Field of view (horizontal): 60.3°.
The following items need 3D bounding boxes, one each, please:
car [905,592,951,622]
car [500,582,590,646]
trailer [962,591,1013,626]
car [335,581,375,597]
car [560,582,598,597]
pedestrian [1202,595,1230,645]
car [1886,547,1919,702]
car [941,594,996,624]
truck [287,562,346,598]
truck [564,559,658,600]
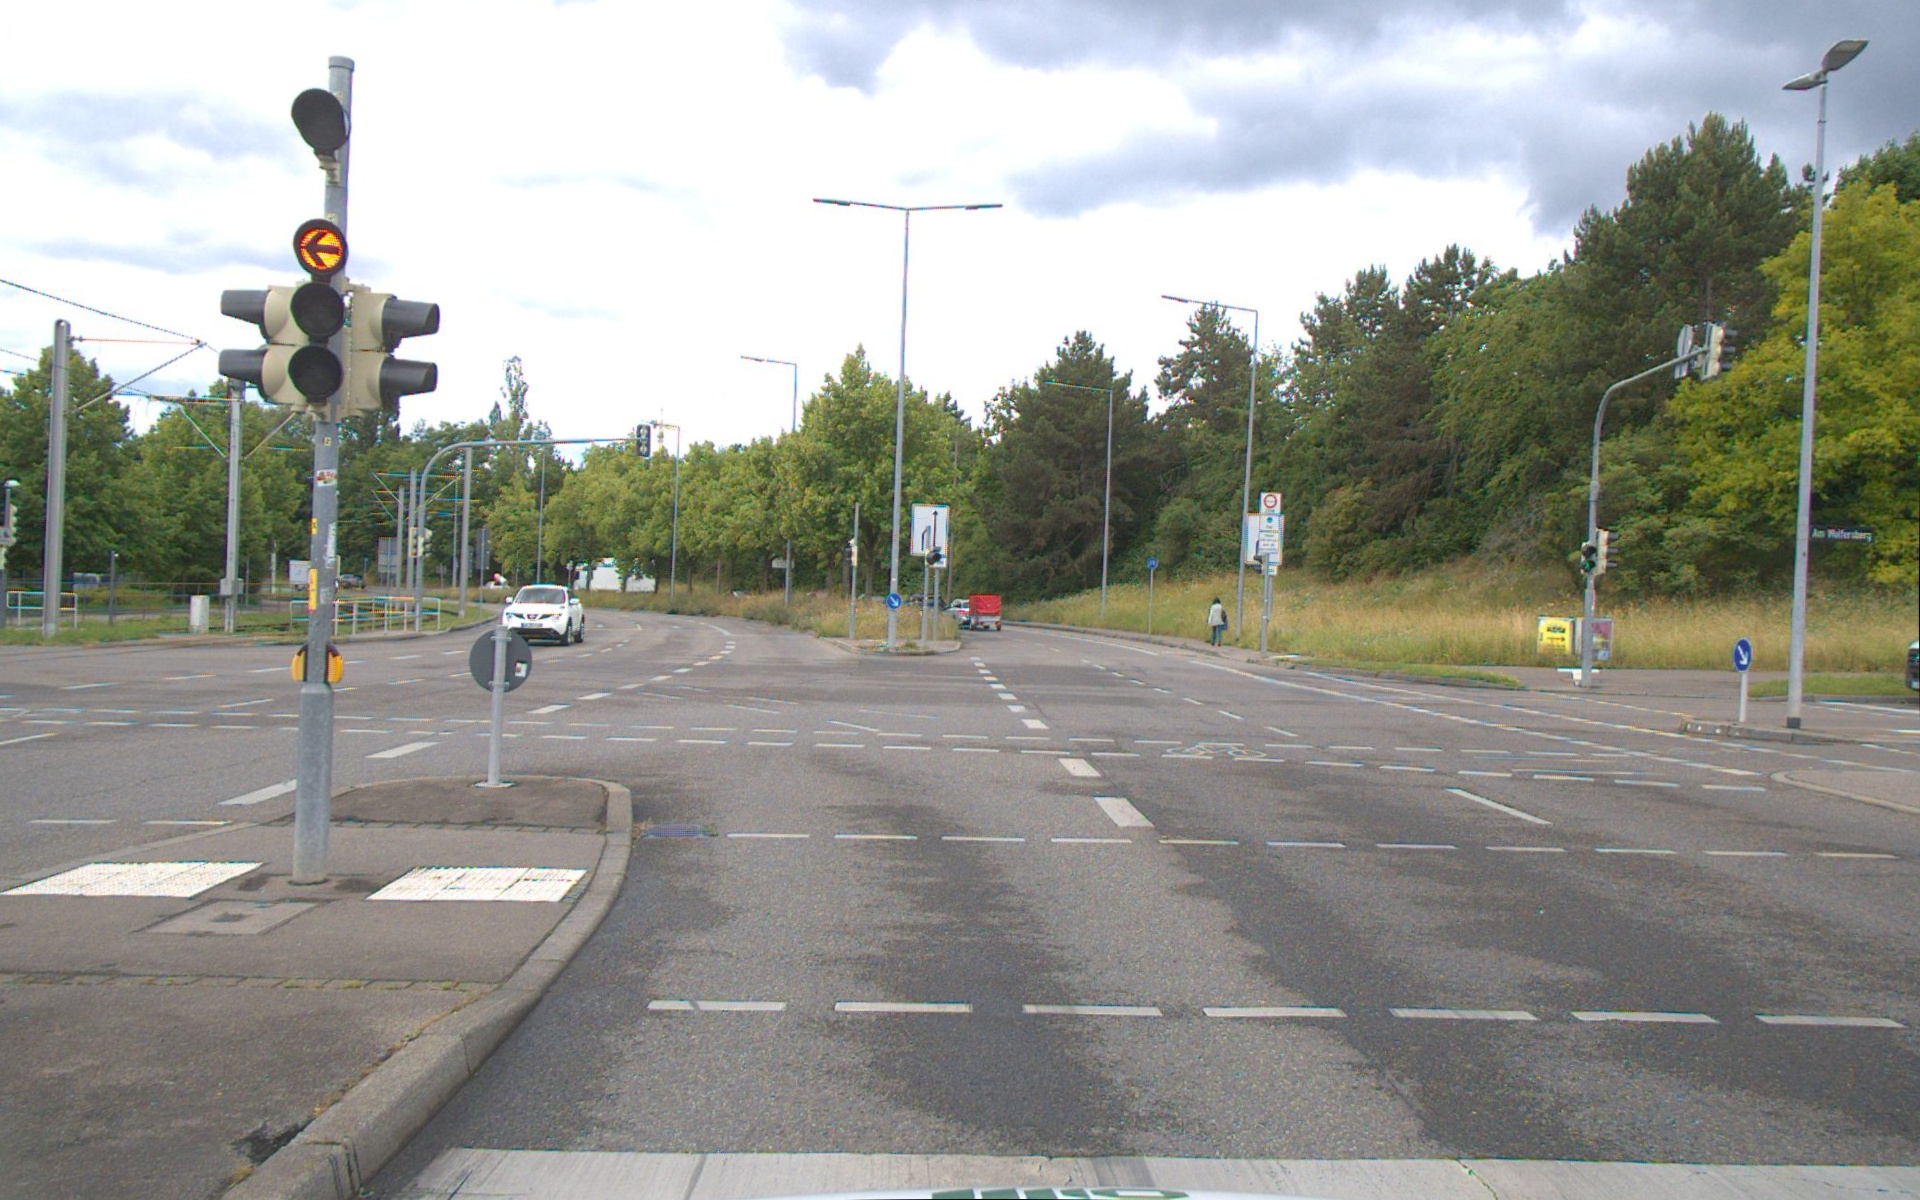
[{"bbox_3d":[-1.810,0.394,92.617,1.748,1.573,4.010,1,0,-14],"label":"car"},{"bbox_3d":[-11.122,0.351,44.594,1.794,1.657,4.419,0,0,-7],"label":"car"},{"bbox_3d":[1.303,0.394,79.417,1.735,1.644,3.033,1,0,-14],"label":"trailer"},{"bbox_3d":[-61.592,-1.156,168.419,3.937,1.573,1.780,1,0,31],"label":"car"},{"bbox_3d":[-40.744,-1.074,176.763,1.744,1.573,4.018,1,0,29],"label":"car"},{"bbox_3d":[8.707,0.678,56.264,0.797,1.656,0.790,1,0,-1],"label":"pedestrian"},{"bbox_3d":[20.332,0.469,30.093,5.772,2.830,2.135,0,0,-1],"label":"car"},{"bbox_3d":[0.406,0.436,83.046,1.748,1.446,4.443,1,0,-14],"label":"car"},{"bbox_3d":[-58.952,-1.848,151.479,5.777,3.190,2.116,1,0,34],"label":"truck"},{"bbox_3d":[-29.919,-1.770,141.331,2.725,3.387,11.235,1,1,-41],"label":"truck"}]
